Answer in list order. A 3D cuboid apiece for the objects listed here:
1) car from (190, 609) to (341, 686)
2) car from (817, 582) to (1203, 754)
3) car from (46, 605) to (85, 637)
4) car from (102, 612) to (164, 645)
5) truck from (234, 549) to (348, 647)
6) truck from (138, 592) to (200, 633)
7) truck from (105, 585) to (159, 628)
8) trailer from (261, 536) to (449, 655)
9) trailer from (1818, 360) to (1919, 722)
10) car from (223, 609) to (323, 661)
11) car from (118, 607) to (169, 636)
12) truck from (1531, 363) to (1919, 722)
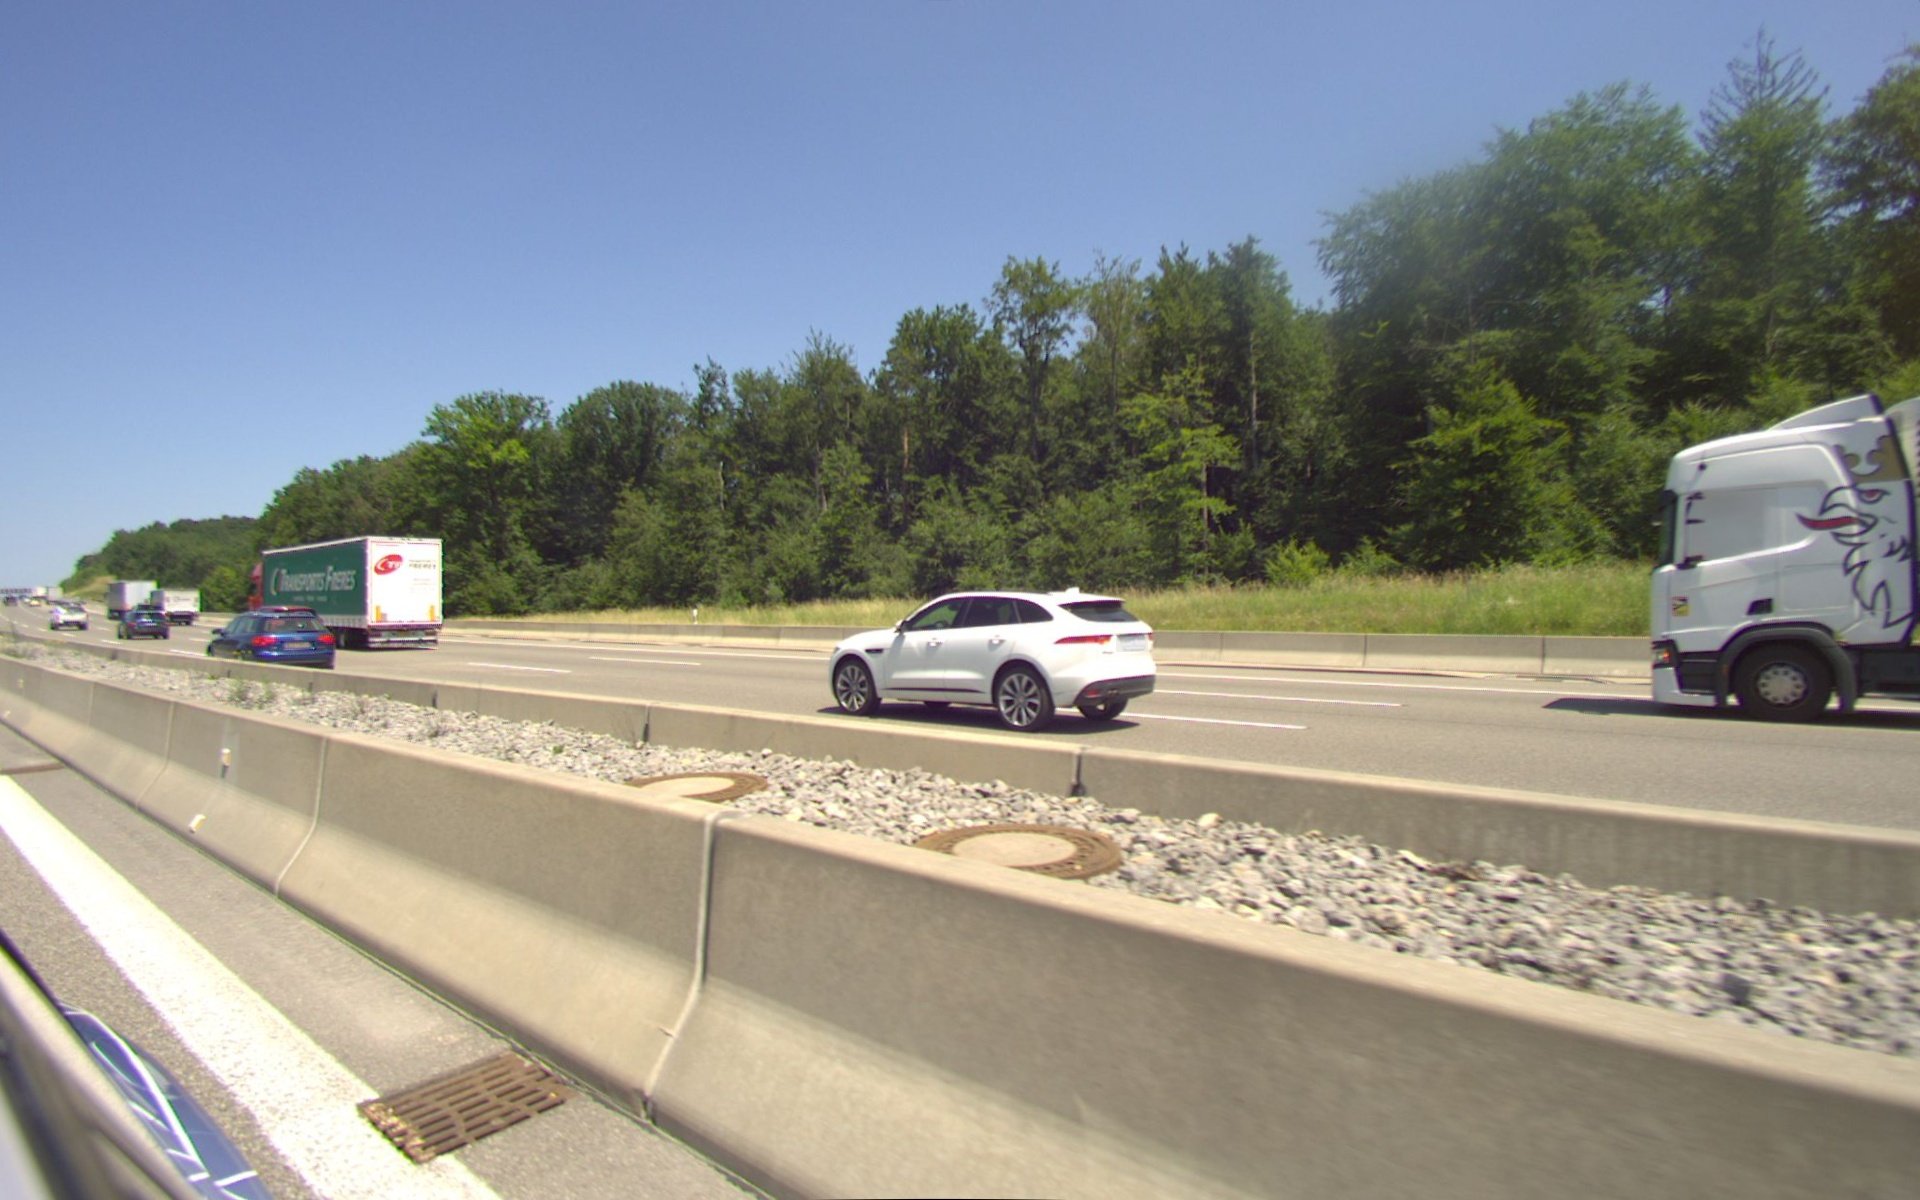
[{"bbox_3d":[-15.720,1.007,22.807,4.825,1.530,1.731,-1,-1,42],"label":"car"},{"bbox_3d":[0.467,0.742,12.994,4.889,1.816,1.799,-1,-1,41],"label":"car"},{"bbox_3d":[-63.510,1.480,71.833,1.836,2.209,4.068,-1,0,-45],"label":"car"},{"bbox_3d":[-42.912,1.439,52.447,5.260,1.564,1.789,-1,0,43],"label":"car"},{"bbox_3d":[-30.211,-0.096,45.632,5.614,4.134,2.894,-1,0,42],"label":"truck"},{"bbox_3d":[-67.670,1.085,86.495,10.097,3.330,2.728,-1,-1,43],"label":"truck"},{"bbox_3d":[-85.647,0.691,104.595,9.345,4.241,2.911,-1,0,42],"label":"truck"},{"bbox_3d":[-24.462,-0.125,40.463,12.150,4.131,2.905,-1,0,42],"label":"trailer"},{"bbox_3d":[16.928,-0.773,8.089,15.279,4.068,3.196,-1,-1,41],"label":"trailer"},{"bbox_3d":[-23.571,1.176,34.669,4.542,1.652,1.779,-1,-1,42],"label":"car"},{"bbox_3d":[-58.857,1.497,72.883,5.023,1.980,2.054,-1,0,42],"label":"car"},{"bbox_3d":[11.316,-0.660,13.016,6.412,4.033,3.187,-1,0,41],"label":"truck"}]
